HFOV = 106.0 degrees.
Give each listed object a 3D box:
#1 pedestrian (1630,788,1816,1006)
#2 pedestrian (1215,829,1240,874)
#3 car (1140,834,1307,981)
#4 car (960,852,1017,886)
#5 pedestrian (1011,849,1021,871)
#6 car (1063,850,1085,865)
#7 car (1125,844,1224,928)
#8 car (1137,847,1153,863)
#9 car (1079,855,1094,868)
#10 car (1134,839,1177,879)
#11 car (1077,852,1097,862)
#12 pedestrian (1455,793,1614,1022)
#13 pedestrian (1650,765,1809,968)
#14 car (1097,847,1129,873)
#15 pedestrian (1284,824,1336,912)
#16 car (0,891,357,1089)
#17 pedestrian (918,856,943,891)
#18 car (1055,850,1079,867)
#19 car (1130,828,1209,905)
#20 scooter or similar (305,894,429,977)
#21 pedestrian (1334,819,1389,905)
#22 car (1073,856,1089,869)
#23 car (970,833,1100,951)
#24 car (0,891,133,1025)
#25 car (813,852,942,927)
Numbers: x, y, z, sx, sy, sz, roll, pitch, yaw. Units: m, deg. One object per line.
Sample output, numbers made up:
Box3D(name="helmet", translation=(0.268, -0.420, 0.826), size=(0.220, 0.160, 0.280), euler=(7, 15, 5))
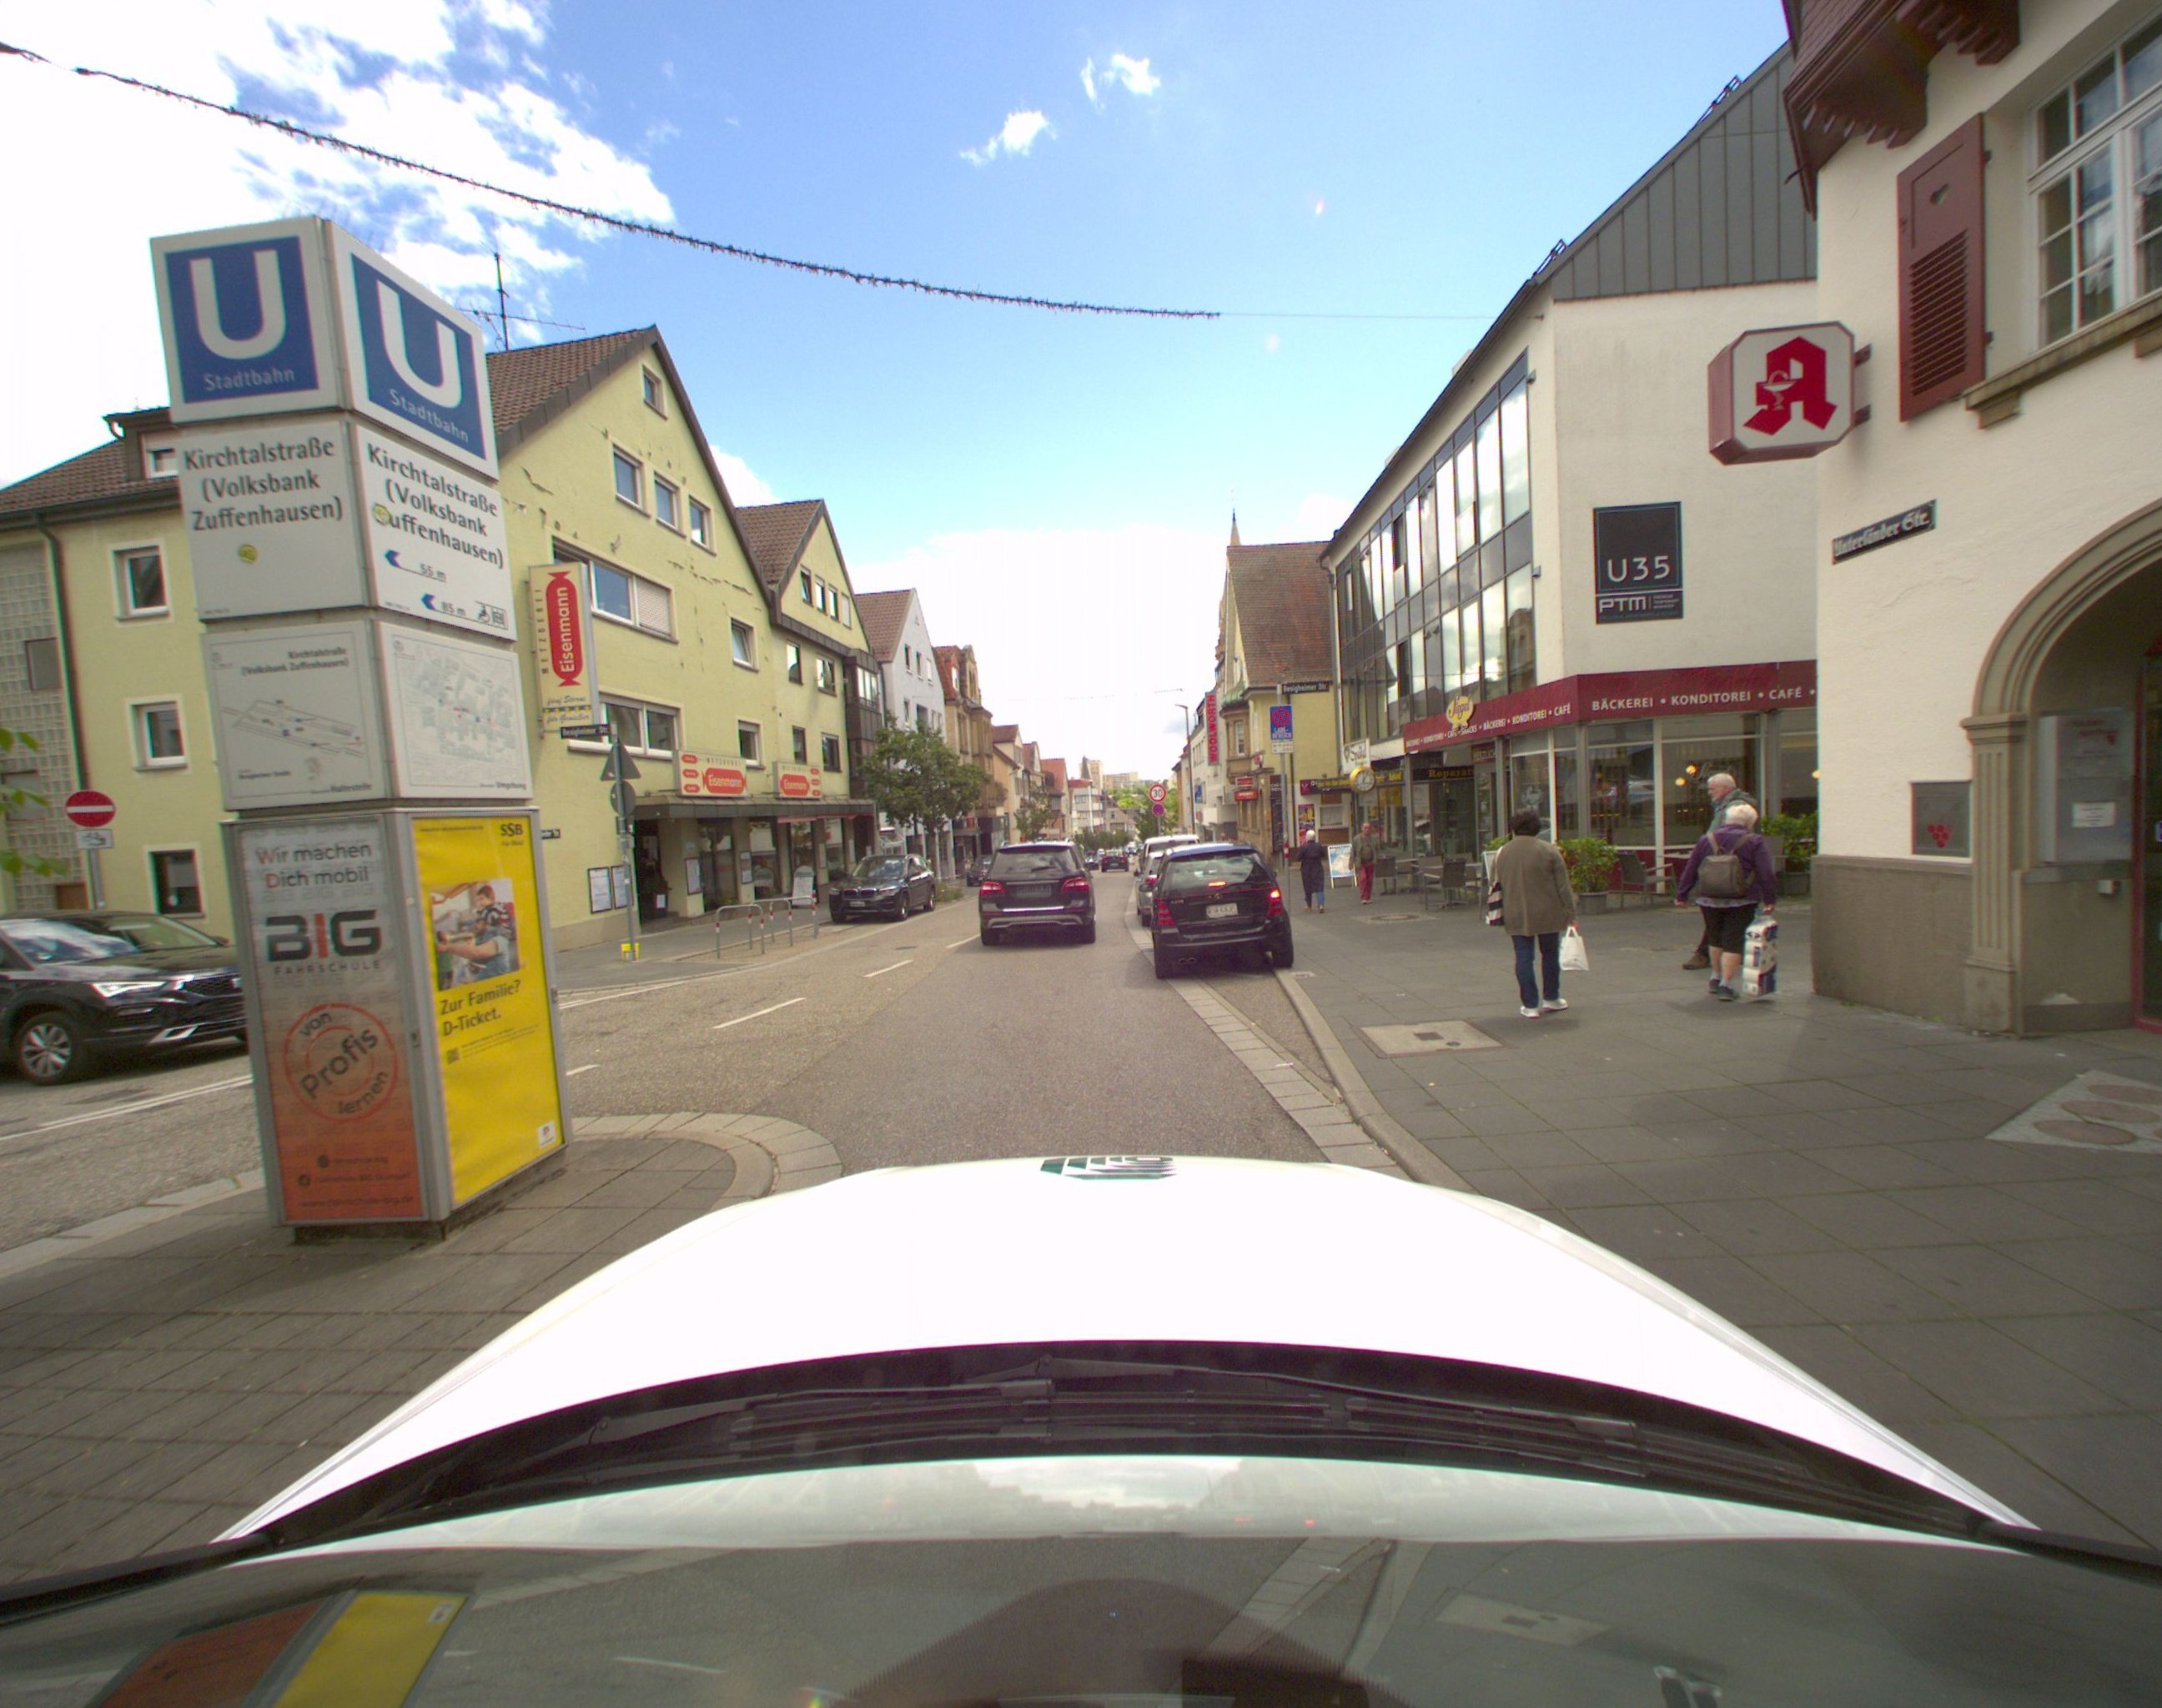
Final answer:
Box3D(name="pedestrian", translation=(4.949, 0.315, 6.345), size=(0.720, 1.531, 0.810), euler=(-6, 0, 10))
Box3D(name="pedestrian", translation=(5.857, -0.091, 32.597), size=(0.793, 1.727, 1.054), euler=(-4, 0, 4))
Box3D(name="car", translation=(1.785, 0.592, 11.265), size=(1.795, 1.555, 3.959), euler=(-4, 0, 5))
Box3D(name="car", translation=(-4.379, 0.667, 39.331), size=(1.918, 1.492, 4.847), euler=(-1, 0, 3))
Box3D(name="pedestrian", translation=(-4.403, 0.418, 54.886), size=(0.487, 1.463, 0.561), euler=(-1, 0, 13))
Box3D(name="car", translation=(-0.736, 0.347, 87.138), size=(1.917, 1.430, 4.268), euler=(-3, 0, 5))
Box3D(name="car", translation=(1.893, 0.595, 17.518), size=(1.696, 1.467, 4.002), euler=(-4, 0, 2))
Box3D(name="car", translation=(8.312, 0.134, 106.221), size=(1.930, 1.891, 4.711), euler=(-6, 0, 4))
Box3D(name="car", translation=(0.713, 1.020, 108.038), size=(1.920, 1.595, 4.459), euler=(-1, 0, 1))
Box3D(name="car", translation=(3.496, 0.210, 38.263), size=(1.740, 1.607, 3.805), euler=(-5, 0, 5))
Box3D(name="car", translation=(1.321, 0.556, 175.955), size=(3.974, 1.749, 2.000), euler=(-6, -1, 0))
Box3D(name="pedestrian", translation=(3.509, 0.393, 6.388), size=(0.768, 1.645, 0.872), euler=(-4, 0, 10))
Box3D(name="pedestrian", translation=(6.075, 0.111, 7.681), size=(0.770, 1.769, 0.819), euler=(-4, 0, 5))
Box3D(name="car", translation=(2.094, 0.351, 52.430), size=(1.777, 1.540, 3.749), euler=(-3, 0, 4))
Box3D(name="pedestrian", translation=(4.510, 0.268, 16.116), size=(0.819, 1.665, 0.804), euler=(-4, 0, 10))
Box3D(name="car", translation=(-10.353, 1.366, 8.353), size=(4.333, 1.569, 1.920), euler=(-4, 0, 8))
Box3D(name="pedestrian", translation=(-6.346, 0.823, 34.443), size=(0.822, 1.463, 0.811), euler=(-1, 0, 3))
Box3D(name="car", translation=(-1.313, 0.439, 79.380), size=(1.918, 1.621, 4.643), euler=(-2, -1, 3))
Box3D(name="car", translation=(2.517, 0.282, 22.629), size=(1.866, 1.799, 4.743), euler=(-3, 0, 8))
Box3D(name="scooter or similar", translation=(-12.755, 1.445, 14.578), size=(1.584, 1.280, 0.591), euler=(-5, 4, 4))
Box3D(name="pedestrian", translation=(5.849, 0.152, 17.056), size=(0.858, 1.707, 0.947), euler=(-4, 0, 10))
Box3D(name="car", translation=(0.035, 1.088, 100.668), size=(1.919, 1.496, 4.263), euler=(-1, 0, 1))
Box3D(name="car", translation=(-0.736, 0.595, 14.865), size=(1.938, 1.740, 4.177), euler=(-3, 0, -1))
Box3D(name="car", translation=(-17.897, 1.792, 12.613), size=(4.314, 1.805, 2.006), euler=(-6, 3, 8))
Box3D(name="car", translation=(-5.372, 0.862, 22.200), size=(1.998, 1.693, 4.612), euler=(-2, 1, 4))
